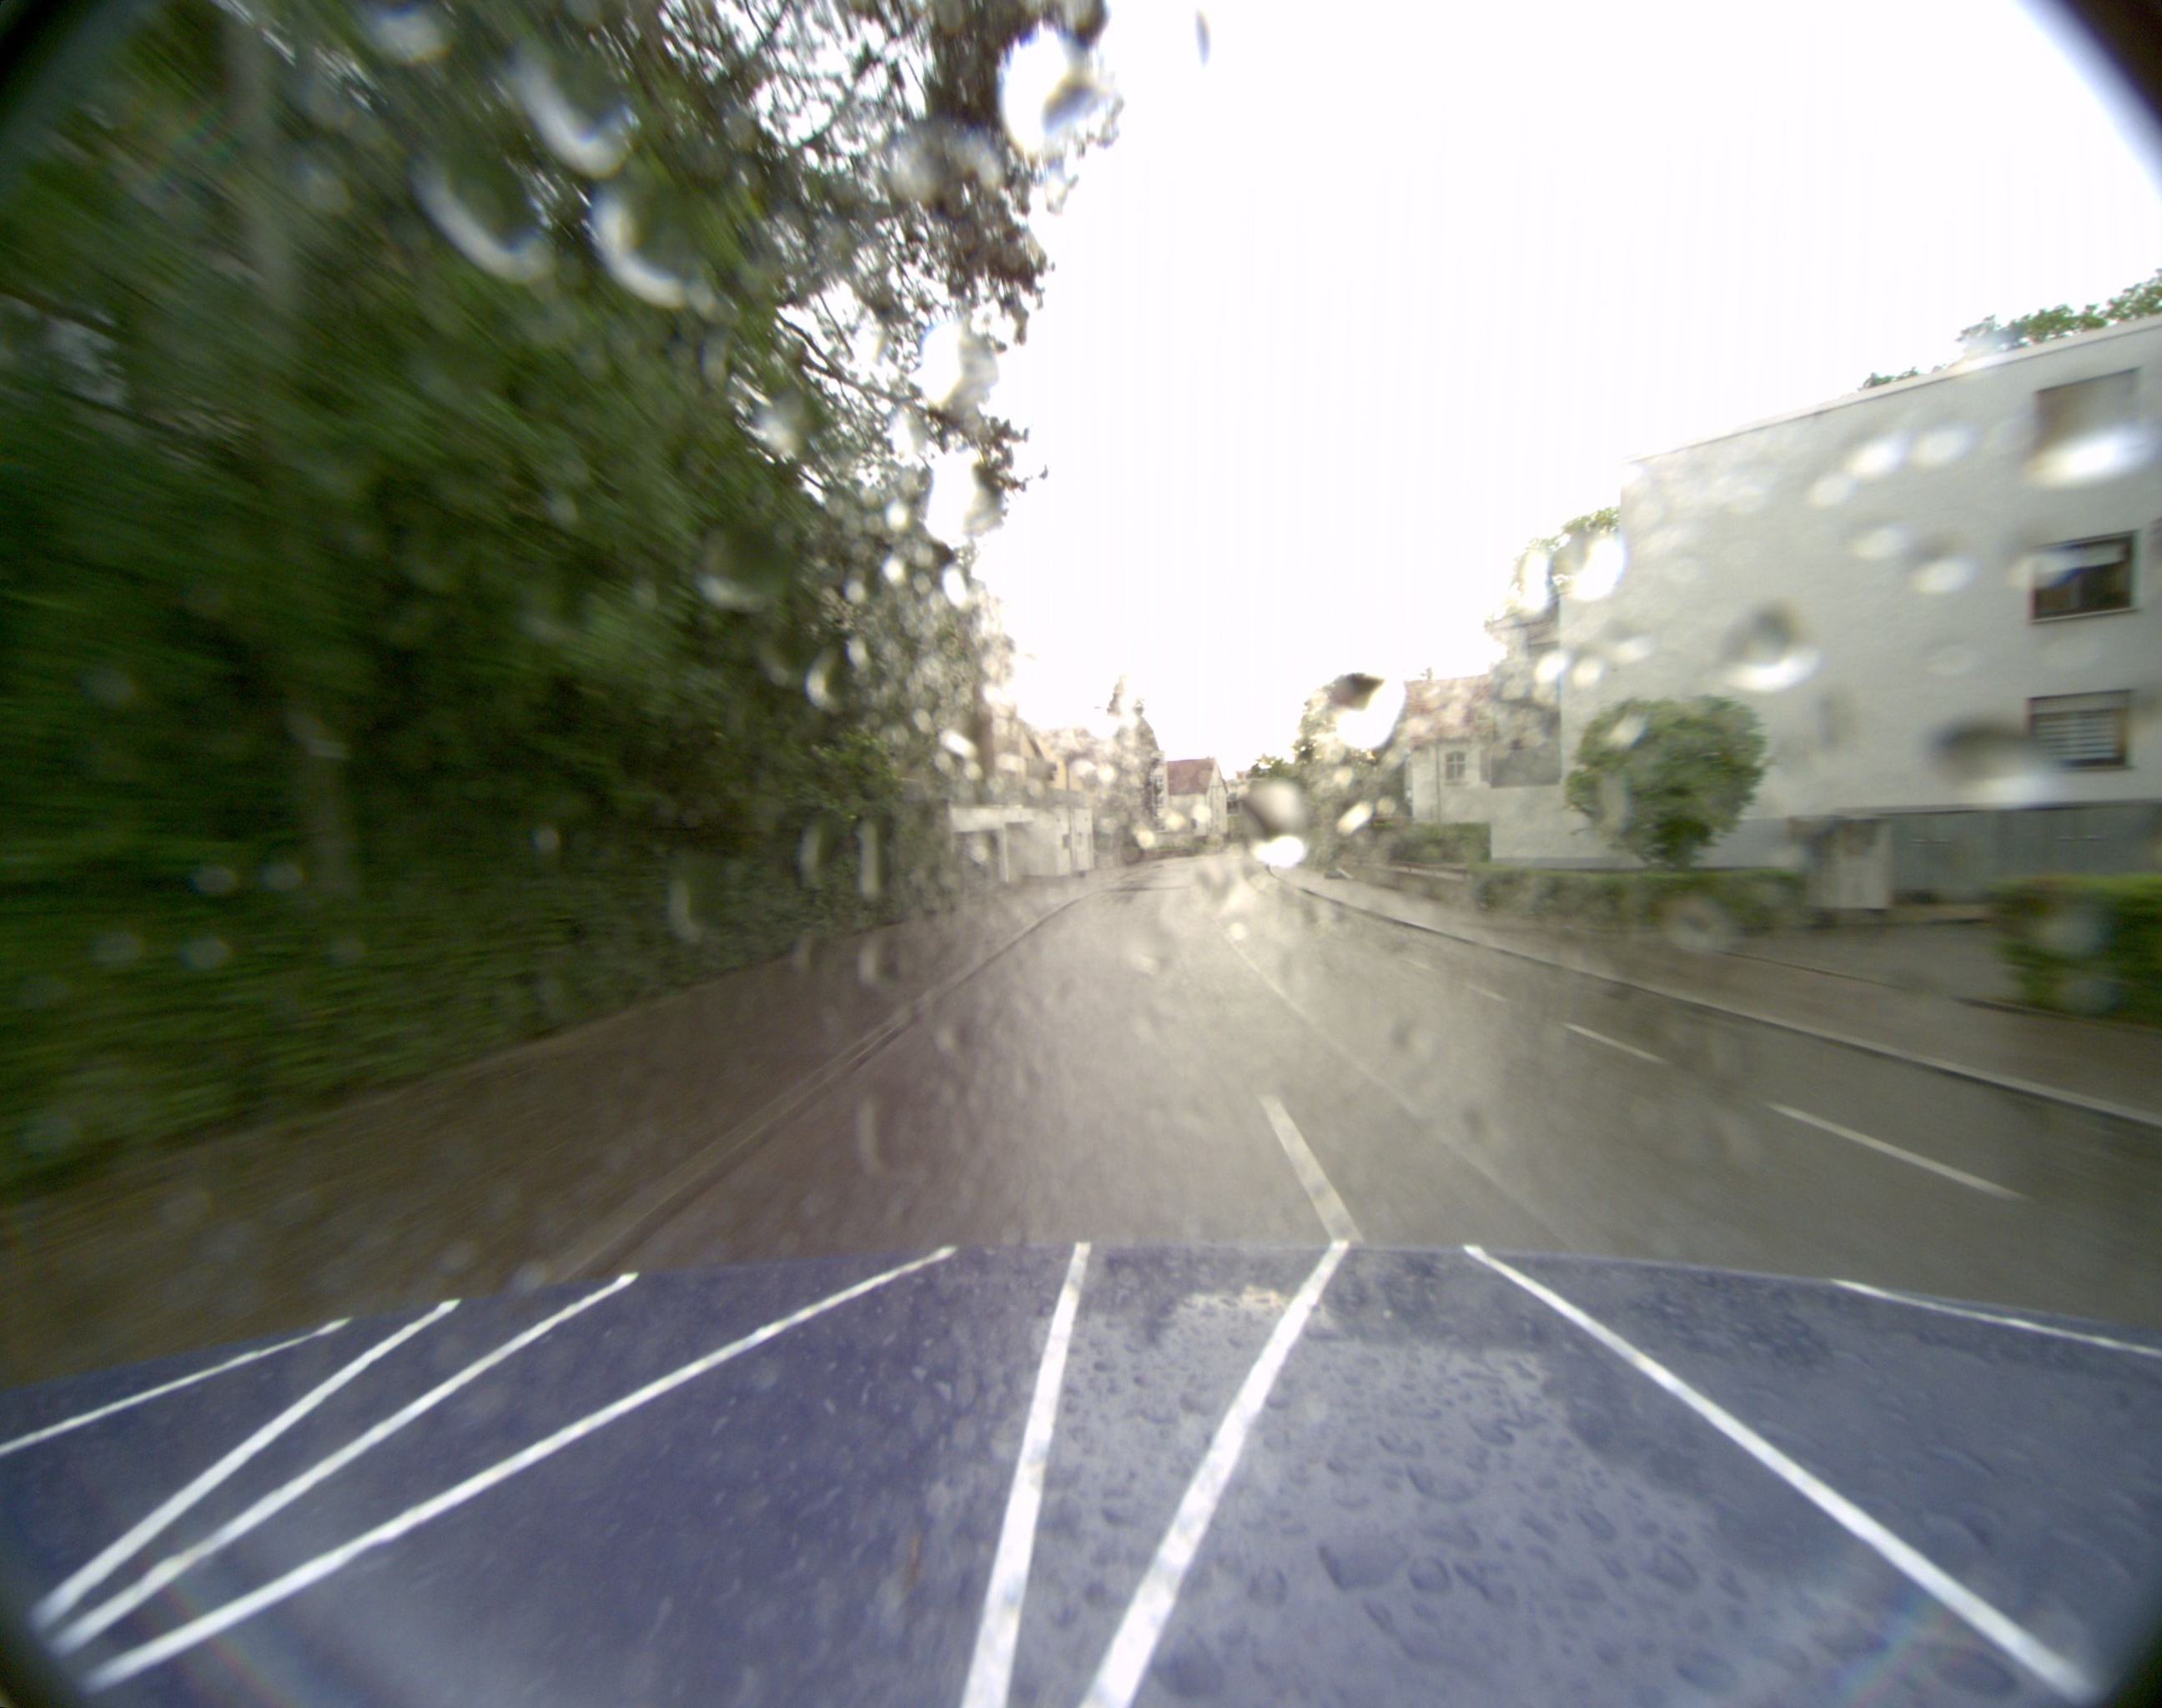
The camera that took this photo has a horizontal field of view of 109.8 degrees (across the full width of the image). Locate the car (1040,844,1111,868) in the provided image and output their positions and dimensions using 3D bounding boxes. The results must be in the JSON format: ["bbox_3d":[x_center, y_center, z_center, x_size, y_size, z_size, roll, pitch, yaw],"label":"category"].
[{"bbox_3d":[-0.345,0.115,48.274,3.990,1.449,2.003,-1,1,24],"label":"car"}]

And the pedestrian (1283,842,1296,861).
[{"bbox_3d":[13.404,-0.186,48.842,0.757,1.173,1.040,-1,1,14],"label":"pedestrian"}]

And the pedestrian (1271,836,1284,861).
[{"bbox_3d":[12.881,-0.359,49.859,0.757,1.634,1.040,-1,1,14],"label":"pedestrian"}]
